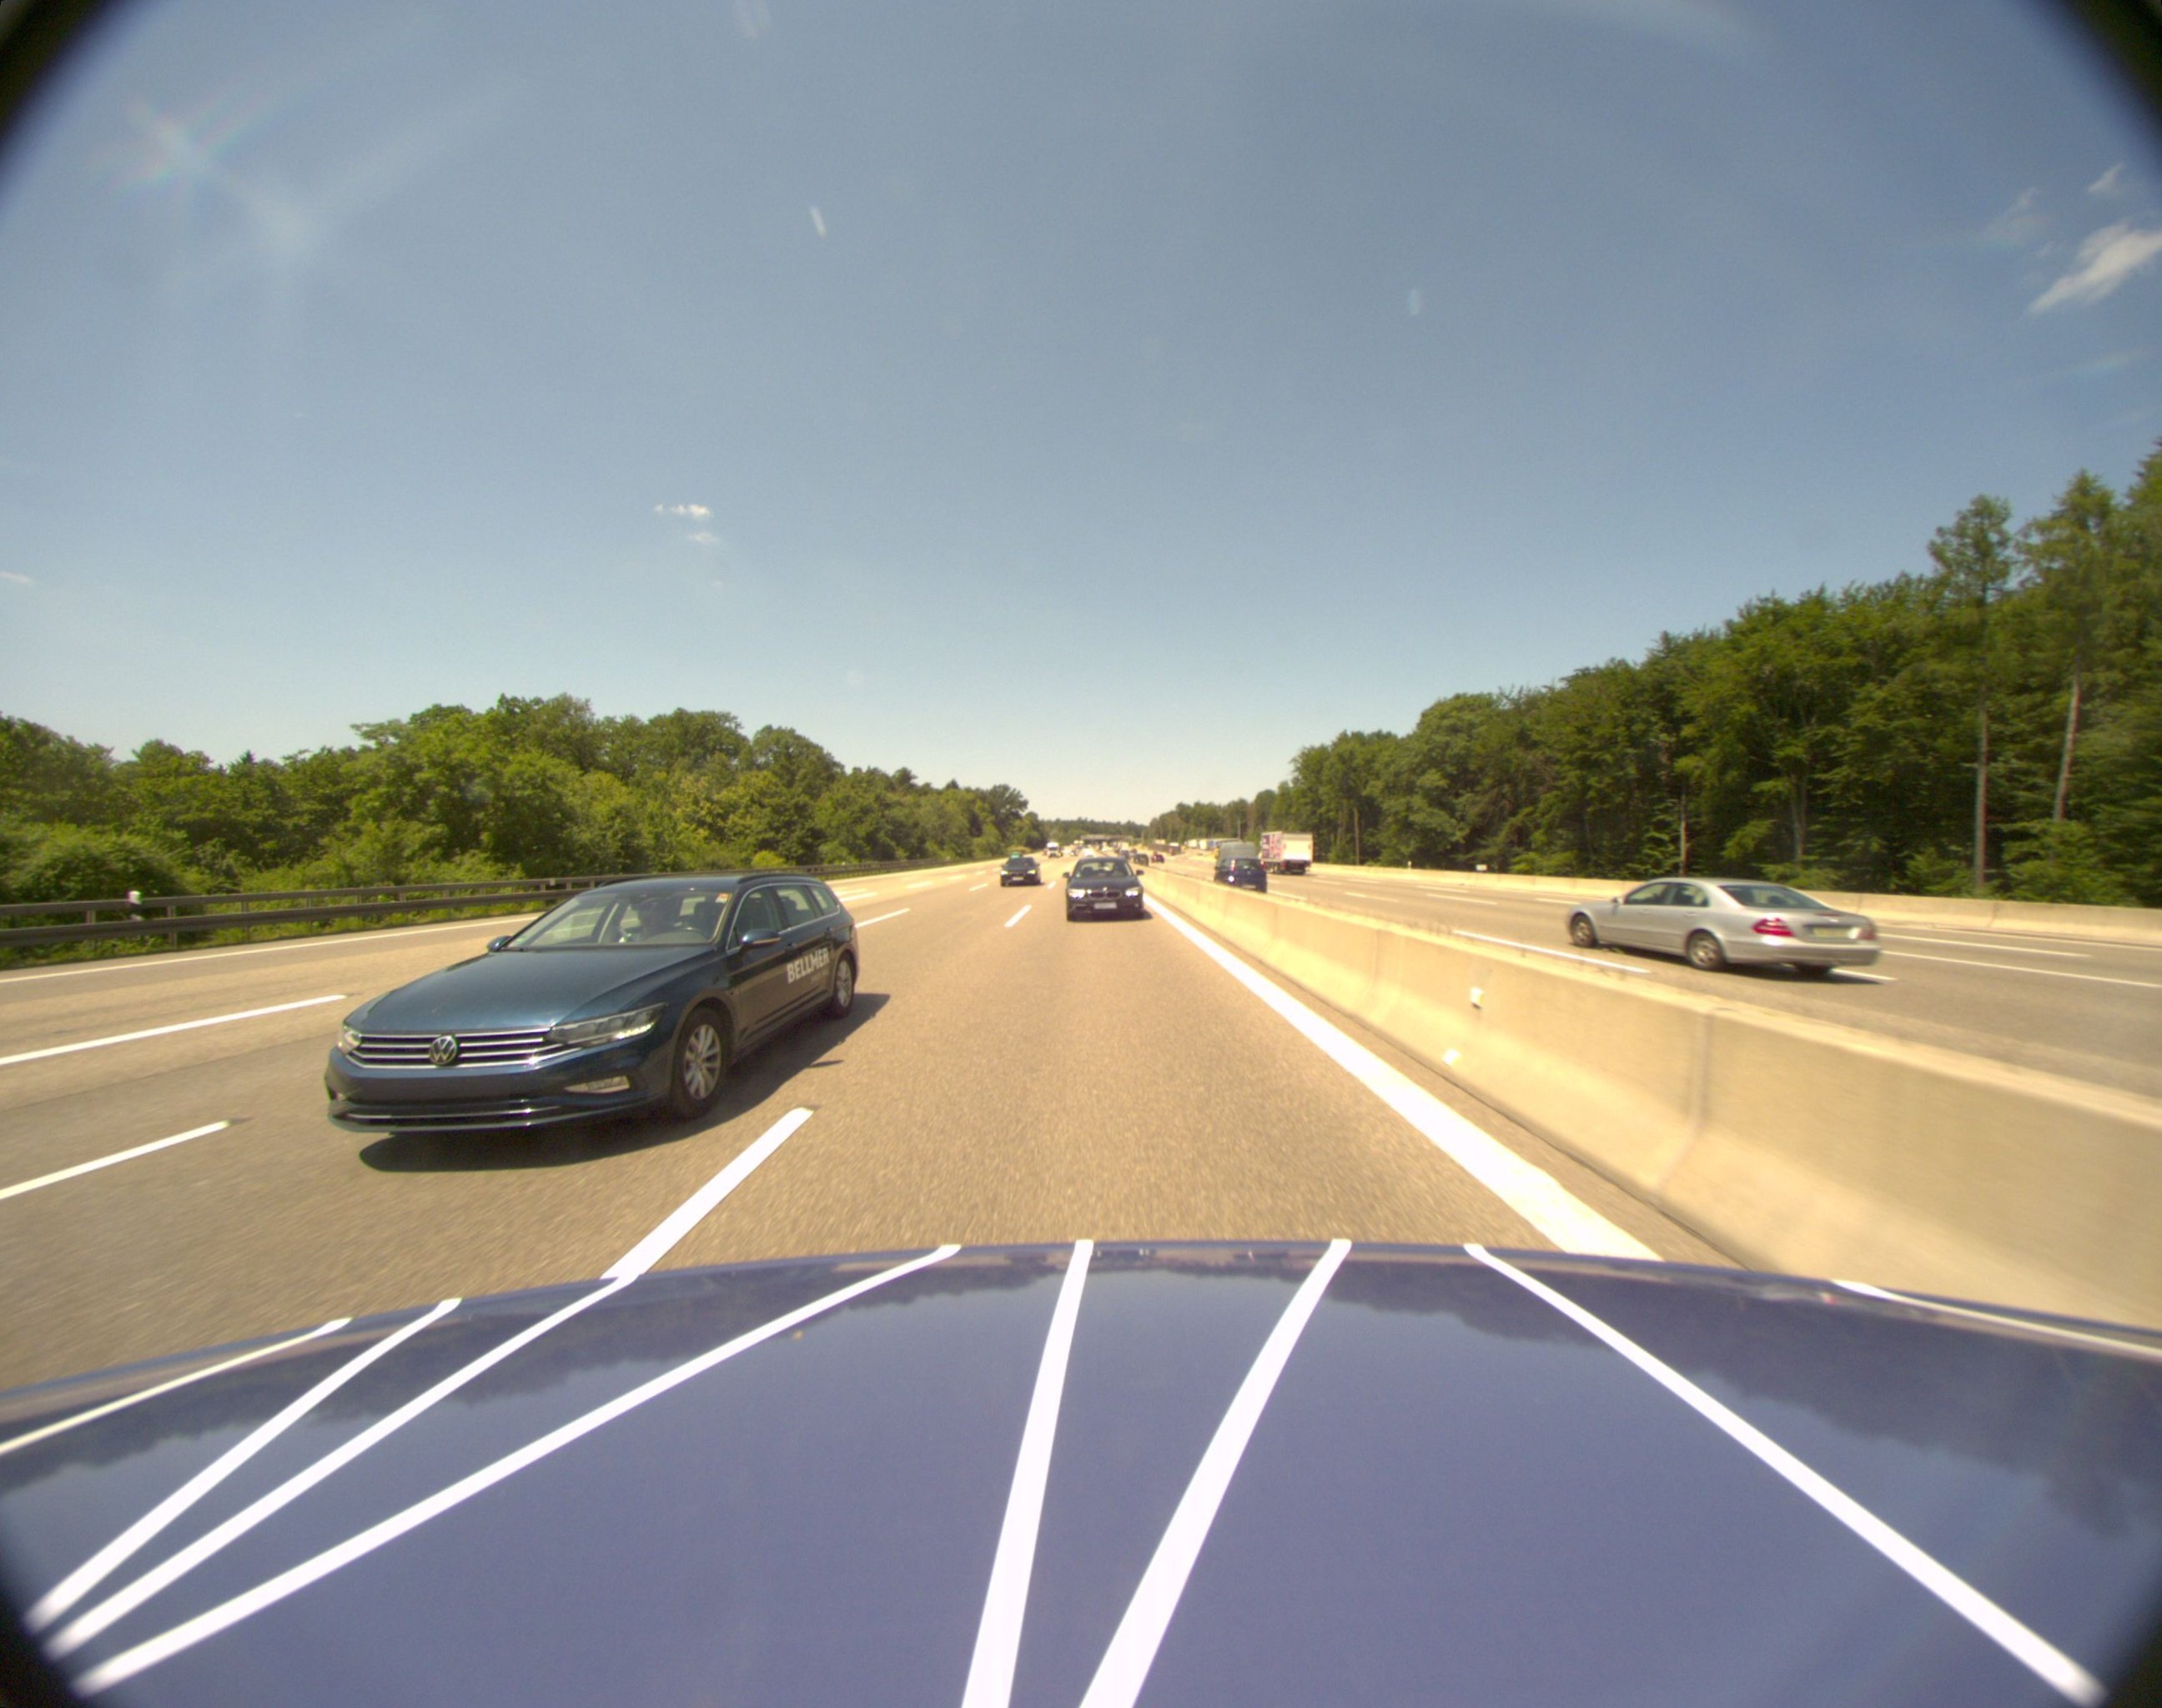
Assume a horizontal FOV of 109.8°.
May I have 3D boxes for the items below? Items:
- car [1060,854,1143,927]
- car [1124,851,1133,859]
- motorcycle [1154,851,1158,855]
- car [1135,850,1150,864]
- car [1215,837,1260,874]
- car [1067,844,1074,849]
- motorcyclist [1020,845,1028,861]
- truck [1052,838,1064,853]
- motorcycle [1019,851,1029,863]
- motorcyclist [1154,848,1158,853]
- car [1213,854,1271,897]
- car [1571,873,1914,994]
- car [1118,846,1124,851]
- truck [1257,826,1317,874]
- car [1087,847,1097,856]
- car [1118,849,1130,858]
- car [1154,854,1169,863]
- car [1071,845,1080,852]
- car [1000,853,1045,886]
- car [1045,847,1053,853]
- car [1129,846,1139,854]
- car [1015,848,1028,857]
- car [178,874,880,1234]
[{"bbox_3d":[0.494,0.787,18.679,1.741,1.450,4.542,-2,1,1],"label":"car"},{"bbox_3d":[8.992,0.129,143.296,1.618,1.386,3.849,0,1,1],"label":"car"},{"bbox_3d":[20.603,-0.359,208.837,0.779,1.135,2.755,0,1,1],"label":"motorcycle"},{"bbox_3d":[7.465,0.296,93.118,1.618,1.652,3.849,0,1,1],"label":"car"},{"bbox_3d":[11.735,0.075,57.559,1.935,2.592,7.230,1,0,1],"label":"car"},{"bbox_3d":[-3.144,-2.244,231.464,1.874,1.560,4.127,0,0,1],"label":"car"},{"bbox_3d":[-6.761,-0.089,90.258,0.914,1.926,0.905,0,2,0],"label":"motorcyclist"},{"bbox_3d":[-5.005,-1.899,167.953,2.429,3.237,8.687,1,1,0],"label":"truck"},{"bbox_3d":[-6.776,0.348,90.534,0.925,1.311,2.997,0,1,1],"label":"motorcycle"},{"bbox_3d":[20.635,-0.858,208.824,0.771,1.294,1.077,1,2,1],"label":"motorcyclist"},{"bbox_3d":[6.752,0.855,32.228,1.709,1.652,3.759,0,1,1],"label":"car"},{"bbox_3d":[10.332,1.128,12.459,1.682,1.436,4.526,1,1,0],"label":"car"},{"bbox_3d":[13.455,-1.896,257.122,1.706,1.419,4.613,1,1,1],"label":"car"},{"bbox_3d":[18.368,-0.431,68.532,2.726,3.917,10.234,1,1,1],"label":"truck"},{"bbox_3d":[2.509,-0.556,171.827,1.998,1.935,4.127,0,0,2],"label":"car"},{"bbox_3d":[7.063,-0.151,125.112,1.756,1.369,4.490,0,1,1],"label":"car"},{"bbox_3d":[12.510,0.704,118.190,1.722,1.441,4.907,0,0,0],"label":"car"},{"bbox_3d":[-1.246,-1.288,187.642,1.998,1.671,4.127,1,1,2],"label":"car"},{"bbox_3d":[-2.851,0.714,37.704,1.834,1.454,4.203,1,1,1],"label":"car"},{"bbox_3d":[-8.767,-1.054,207.613,1.874,1.560,4.127,0,0,1],"label":"car"},{"bbox_3d":[12.026,-0.944,172.945,1.975,1.714,4.509,5,0,1],"label":"car"},{"bbox_3d":[-11.523,-0.319,146.668,1.998,1.671,4.127,1,1,2],"label":"car"},{"bbox_3d":[-3.155,0.979,5.917,1.734,1.439,4.961,-1,1,1],"label":"car"}]
